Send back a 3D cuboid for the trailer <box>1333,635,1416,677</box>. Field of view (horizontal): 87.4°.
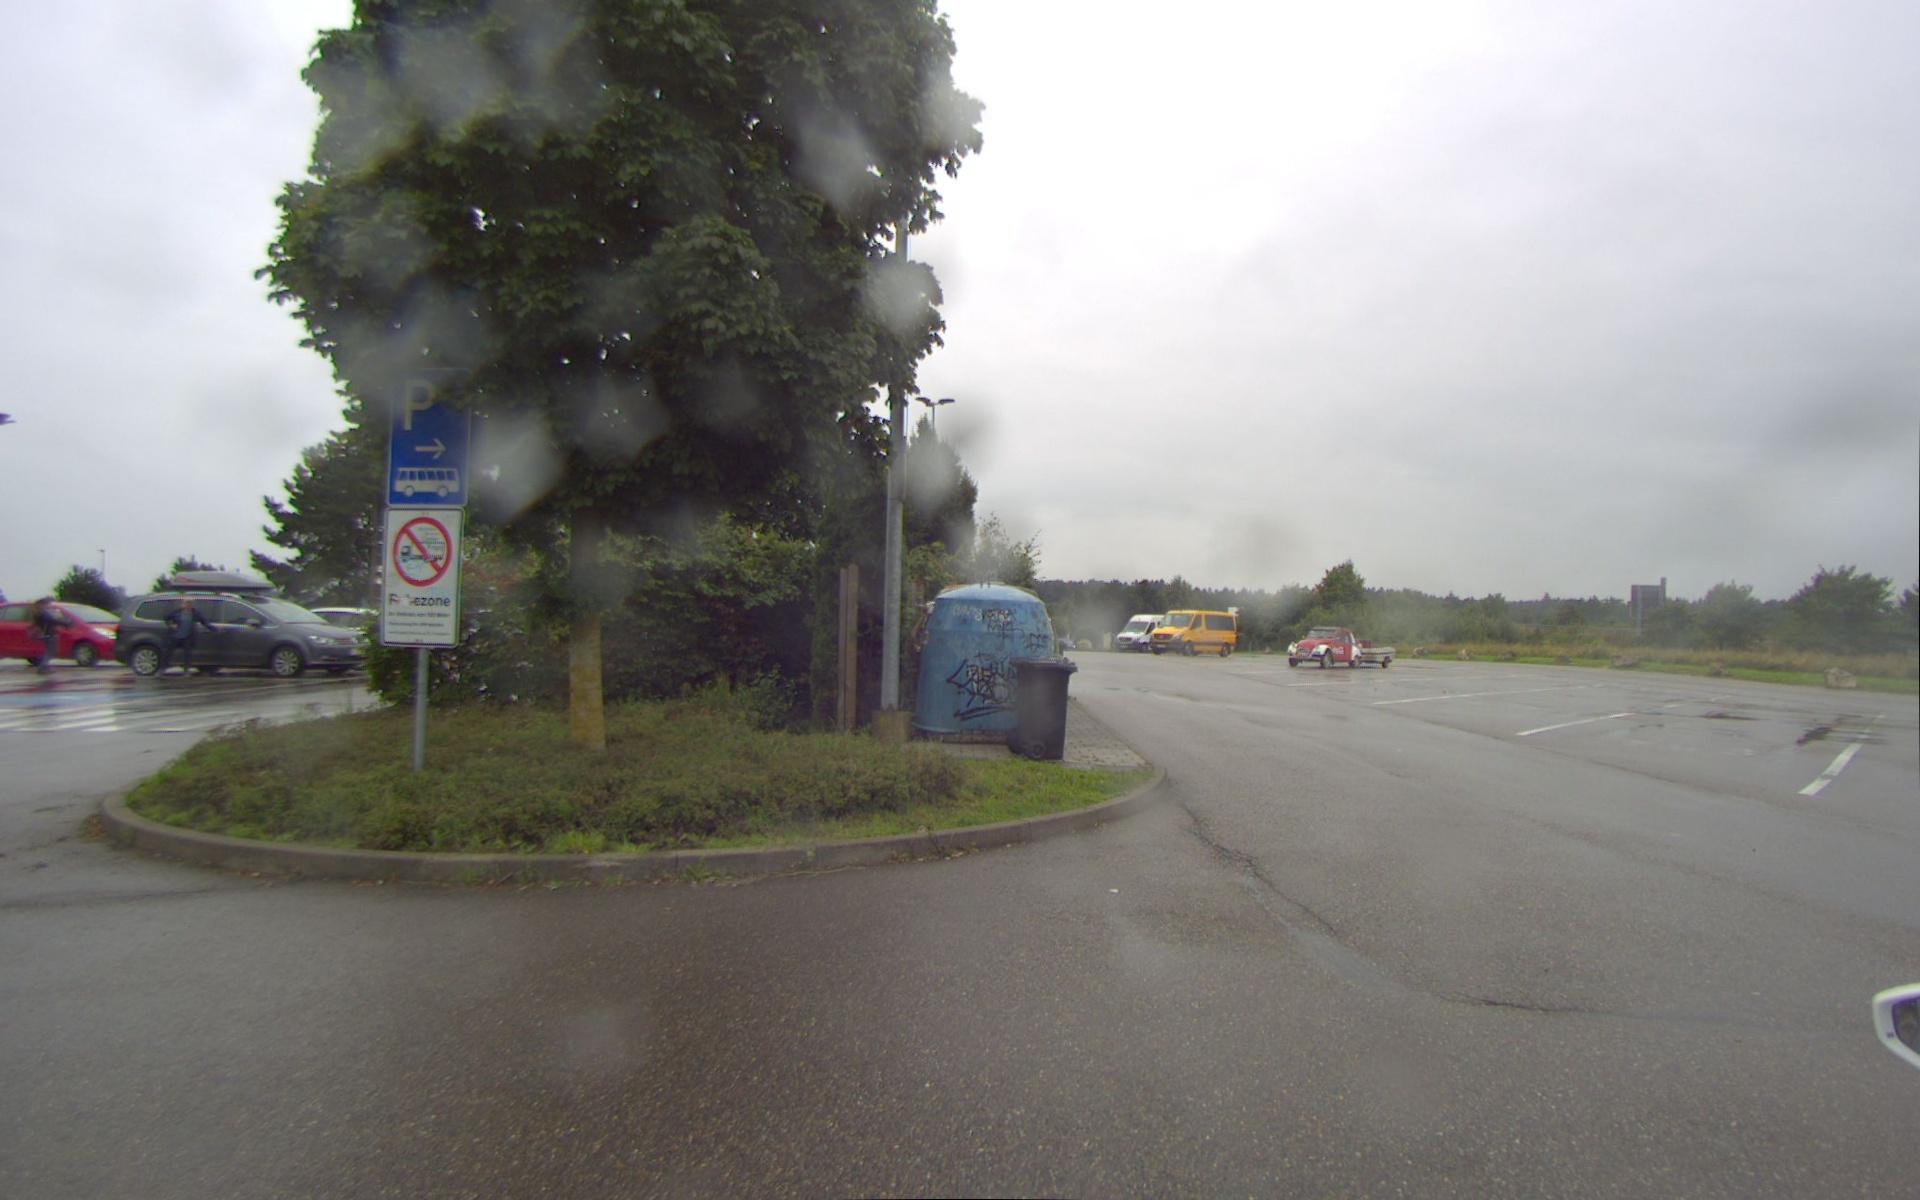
[{"bbox_3d":[16.683,2.227,40.334,3.974,1.553,1.678,3,-2,-44],"label":"trailer"}]

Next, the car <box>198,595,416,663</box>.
[{"bbox_3d":[-15.625,0.670,24.179,4.115,1.537,1.743,1,0,0],"label":"car"}]

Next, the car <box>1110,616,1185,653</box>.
[{"bbox_3d":[12.460,2.318,66.631,4.718,2.231,1.984,3,0,-30],"label":"car"}]

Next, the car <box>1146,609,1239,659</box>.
[{"bbox_3d":[11.916,1.800,51.231,1.972,2.410,5.993,-2,-4,42],"label":"car"}]

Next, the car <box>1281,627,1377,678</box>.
[{"bbox_3d":[13.840,1.963,37.554,3.973,1.800,1.804,3,-3,-44],"label":"car"}]

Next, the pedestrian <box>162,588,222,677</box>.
[{"bbox_3d":[-15.363,0.657,20.104,0.671,1.747,0.611,1,-3,-8],"label":"pedestrian"}]

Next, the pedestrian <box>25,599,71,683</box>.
[{"bbox_3d":[-18.462,0.836,20.342,0.641,1.660,0.707,2,-3,-42],"label":"pedestrian"}]

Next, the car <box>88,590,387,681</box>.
[{"bbox_3d":[-15.206,0.732,21.352,4.854,1.816,2.000,0,0,-1],"label":"car"}]

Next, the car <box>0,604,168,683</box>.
[{"bbox_3d":[-21.909,1.017,24.316,3.944,1.816,1.850,0,0,-1],"label":"car"}]

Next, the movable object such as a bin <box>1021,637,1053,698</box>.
[{"bbox_3d":[1.229,1.075,16.058,0.498,0.935,0.439,1,0,3],"label":"movable object such as a bin"}]

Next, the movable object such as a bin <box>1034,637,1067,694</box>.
[{"bbox_3d":[1.513,1.087,16.809,0.498,0.928,0.439,1,0,1],"label":"movable object such as a bin"}]

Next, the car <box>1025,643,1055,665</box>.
[{"bbox_3d":[7.539,5.077,94.647,1.658,2.040,3.990,1,-2,-14],"label":"car"}]

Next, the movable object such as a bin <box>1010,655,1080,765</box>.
[{"bbox_3d":[0.786,1.014,9.358,0.466,0.961,0.433,2,0,-23],"label":"movable object such as a bin"}]

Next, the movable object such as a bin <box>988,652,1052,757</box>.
[{"bbox_3d":[0.588,1.006,9.810,0.400,0.961,0.448,2,0,43],"label":"movable object such as a bin"}]
